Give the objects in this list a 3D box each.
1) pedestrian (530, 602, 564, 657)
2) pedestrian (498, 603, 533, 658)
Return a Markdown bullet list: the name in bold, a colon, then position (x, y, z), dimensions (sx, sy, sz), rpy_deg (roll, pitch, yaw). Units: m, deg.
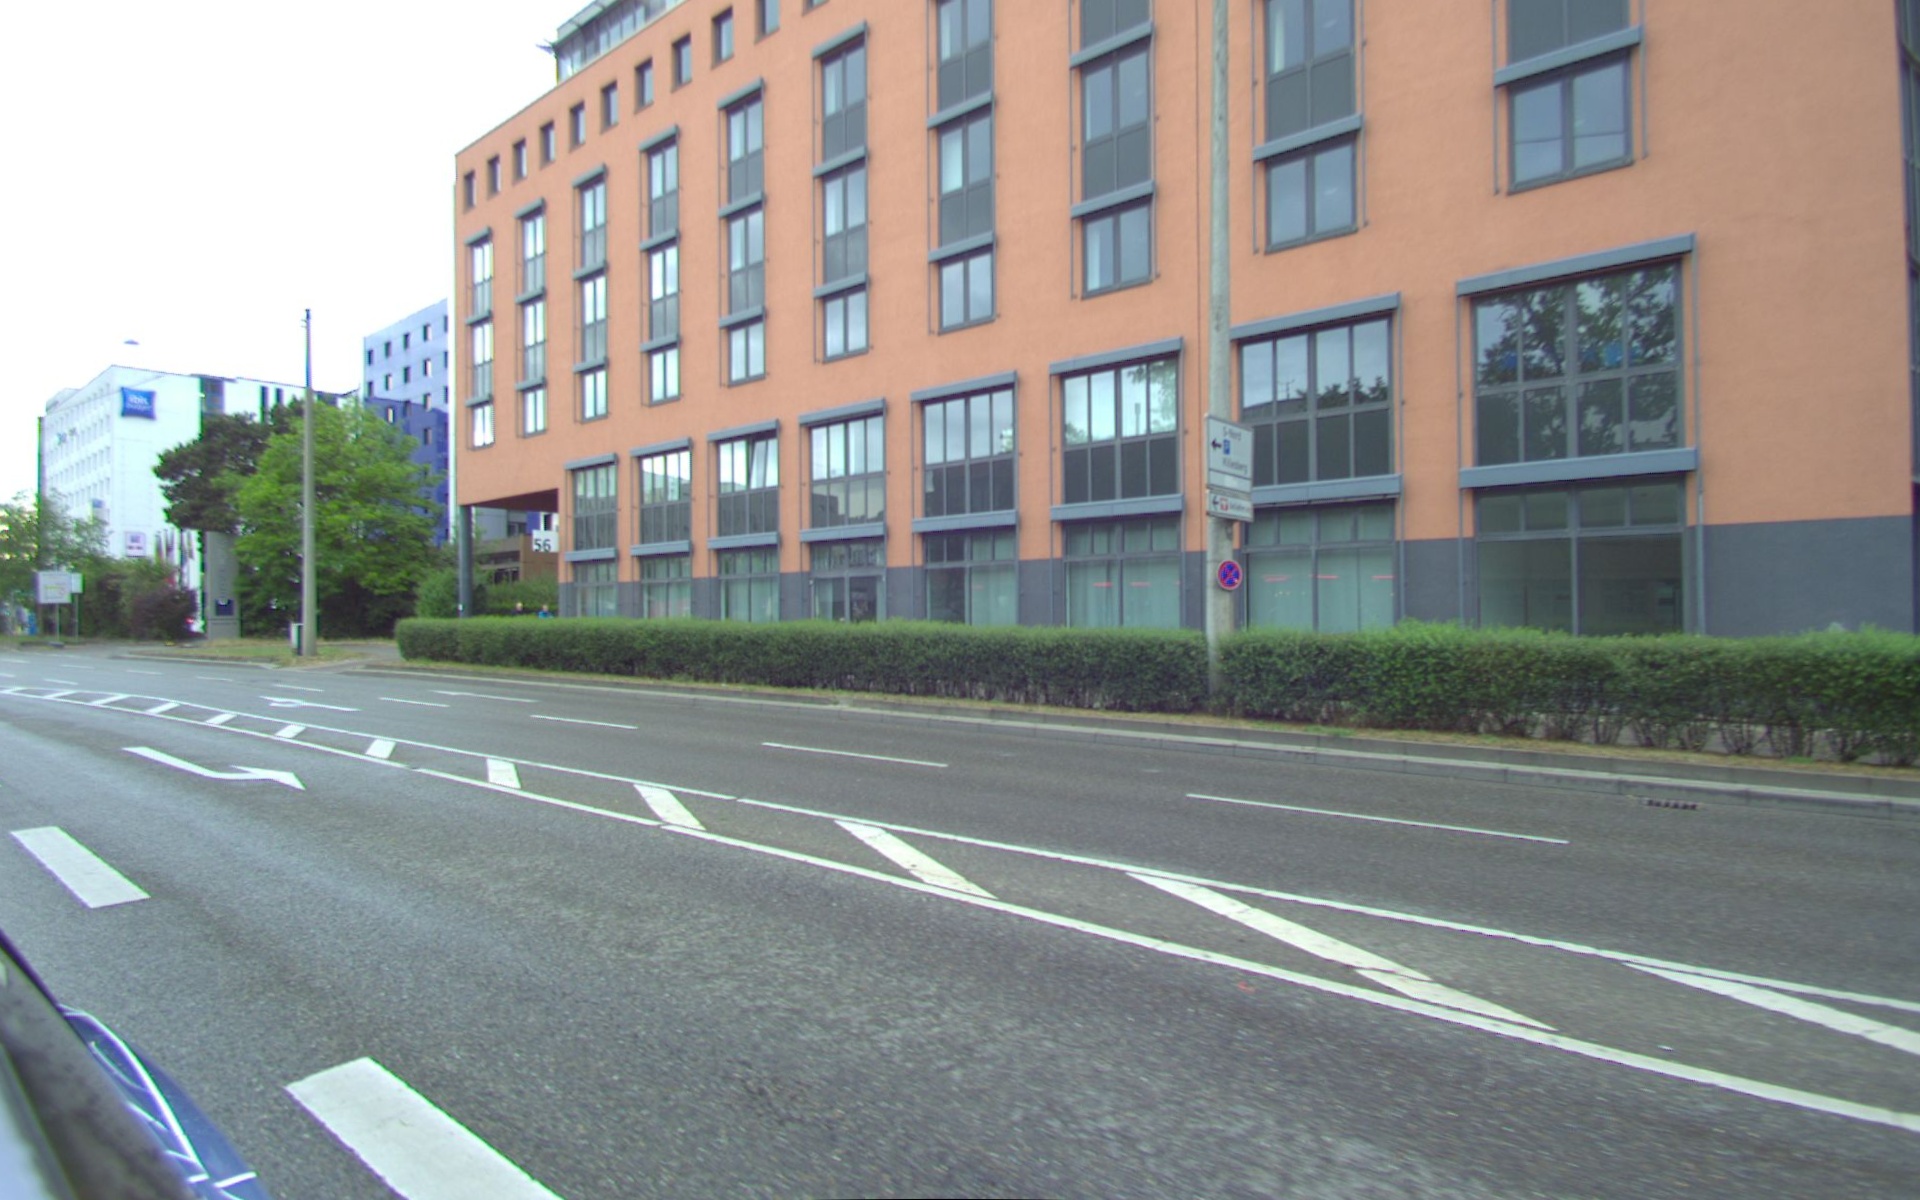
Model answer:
- **pedestrian**: position (-14.342, 1.025, 35.117), dimensions (0.885, 1.855, 0.738), rpy_deg (-1, 0, 39)
- **pedestrian**: position (-15.158, 1.030, 34.531), dimensions (0.885, 1.855, 0.738), rpy_deg (-1, 0, 39)
